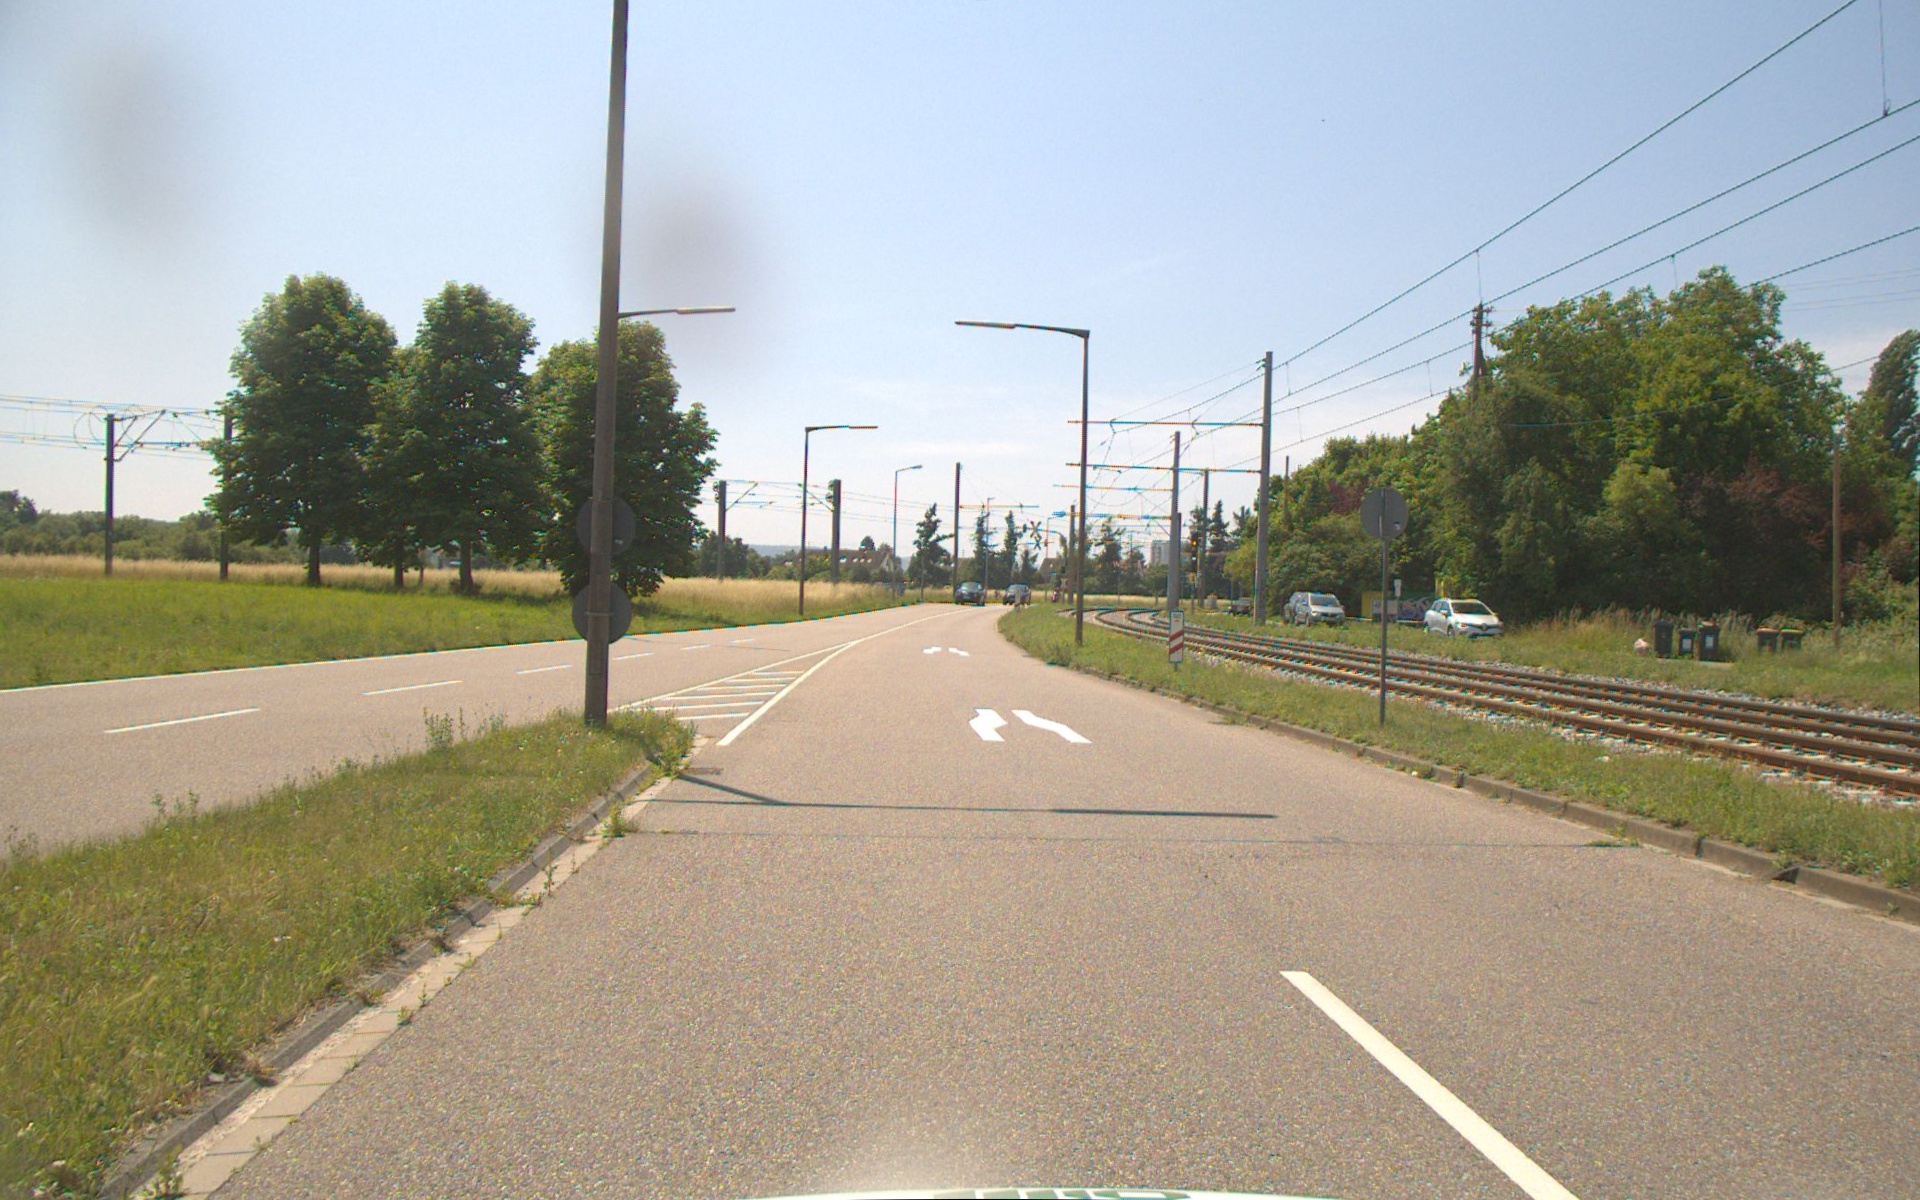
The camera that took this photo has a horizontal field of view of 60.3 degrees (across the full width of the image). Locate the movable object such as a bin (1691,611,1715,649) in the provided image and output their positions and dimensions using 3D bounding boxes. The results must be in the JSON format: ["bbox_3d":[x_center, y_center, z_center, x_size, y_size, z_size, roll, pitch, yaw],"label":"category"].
[{"bbox_3d":[21.228,0.865,47.250,0.513,1.068,0.500,1,0,10],"label":"movable object such as a bin"}]

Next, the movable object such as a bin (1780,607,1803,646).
[{"bbox_3d":[23.395,0.740,46.549,0.439,1.068,0.500,1,0,10],"label":"movable object such as a bin"}]

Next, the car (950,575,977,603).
[{"bbox_3d":[0.246,-0.756,115.824,1.374,1.802,3.257,3,0,8],"label":"car"}]

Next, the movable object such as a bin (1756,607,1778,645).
[{"bbox_3d":[22.793,0.728,46.710,0.439,1.068,0.500,1,0,10],"label":"movable object such as a bin"}]

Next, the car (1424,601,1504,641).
[{"bbox_3d":[16.510,0.673,54.272,1.531,1.200,3.077,1,0,-3],"label":"car"}]

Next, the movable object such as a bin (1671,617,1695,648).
[{"bbox_3d":[20.703,0.924,47.383,0.513,0.879,0.500,1,0,10],"label":"movable object such as a bin"}]

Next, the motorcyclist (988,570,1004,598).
[{"bbox_3d":[3.174,-1.421,144.768,1.205,2.392,1.107,3,0,6],"label":"motorcyclist"}]

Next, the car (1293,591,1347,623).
[{"bbox_3d":[16.904,0.327,77.748,1.638,1.422,3.649,3,0,-1],"label":"car"}]

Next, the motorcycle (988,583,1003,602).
[{"bbox_3d":[3.132,-0.637,144.839,0.968,1.608,3.403,3,0,6],"label":"motorcycle"}]

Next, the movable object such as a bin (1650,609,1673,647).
[{"bbox_3d":[20.146,0.792,47.498,0.513,1.068,0.500,1,0,10],"label":"movable object such as a bin"}]
